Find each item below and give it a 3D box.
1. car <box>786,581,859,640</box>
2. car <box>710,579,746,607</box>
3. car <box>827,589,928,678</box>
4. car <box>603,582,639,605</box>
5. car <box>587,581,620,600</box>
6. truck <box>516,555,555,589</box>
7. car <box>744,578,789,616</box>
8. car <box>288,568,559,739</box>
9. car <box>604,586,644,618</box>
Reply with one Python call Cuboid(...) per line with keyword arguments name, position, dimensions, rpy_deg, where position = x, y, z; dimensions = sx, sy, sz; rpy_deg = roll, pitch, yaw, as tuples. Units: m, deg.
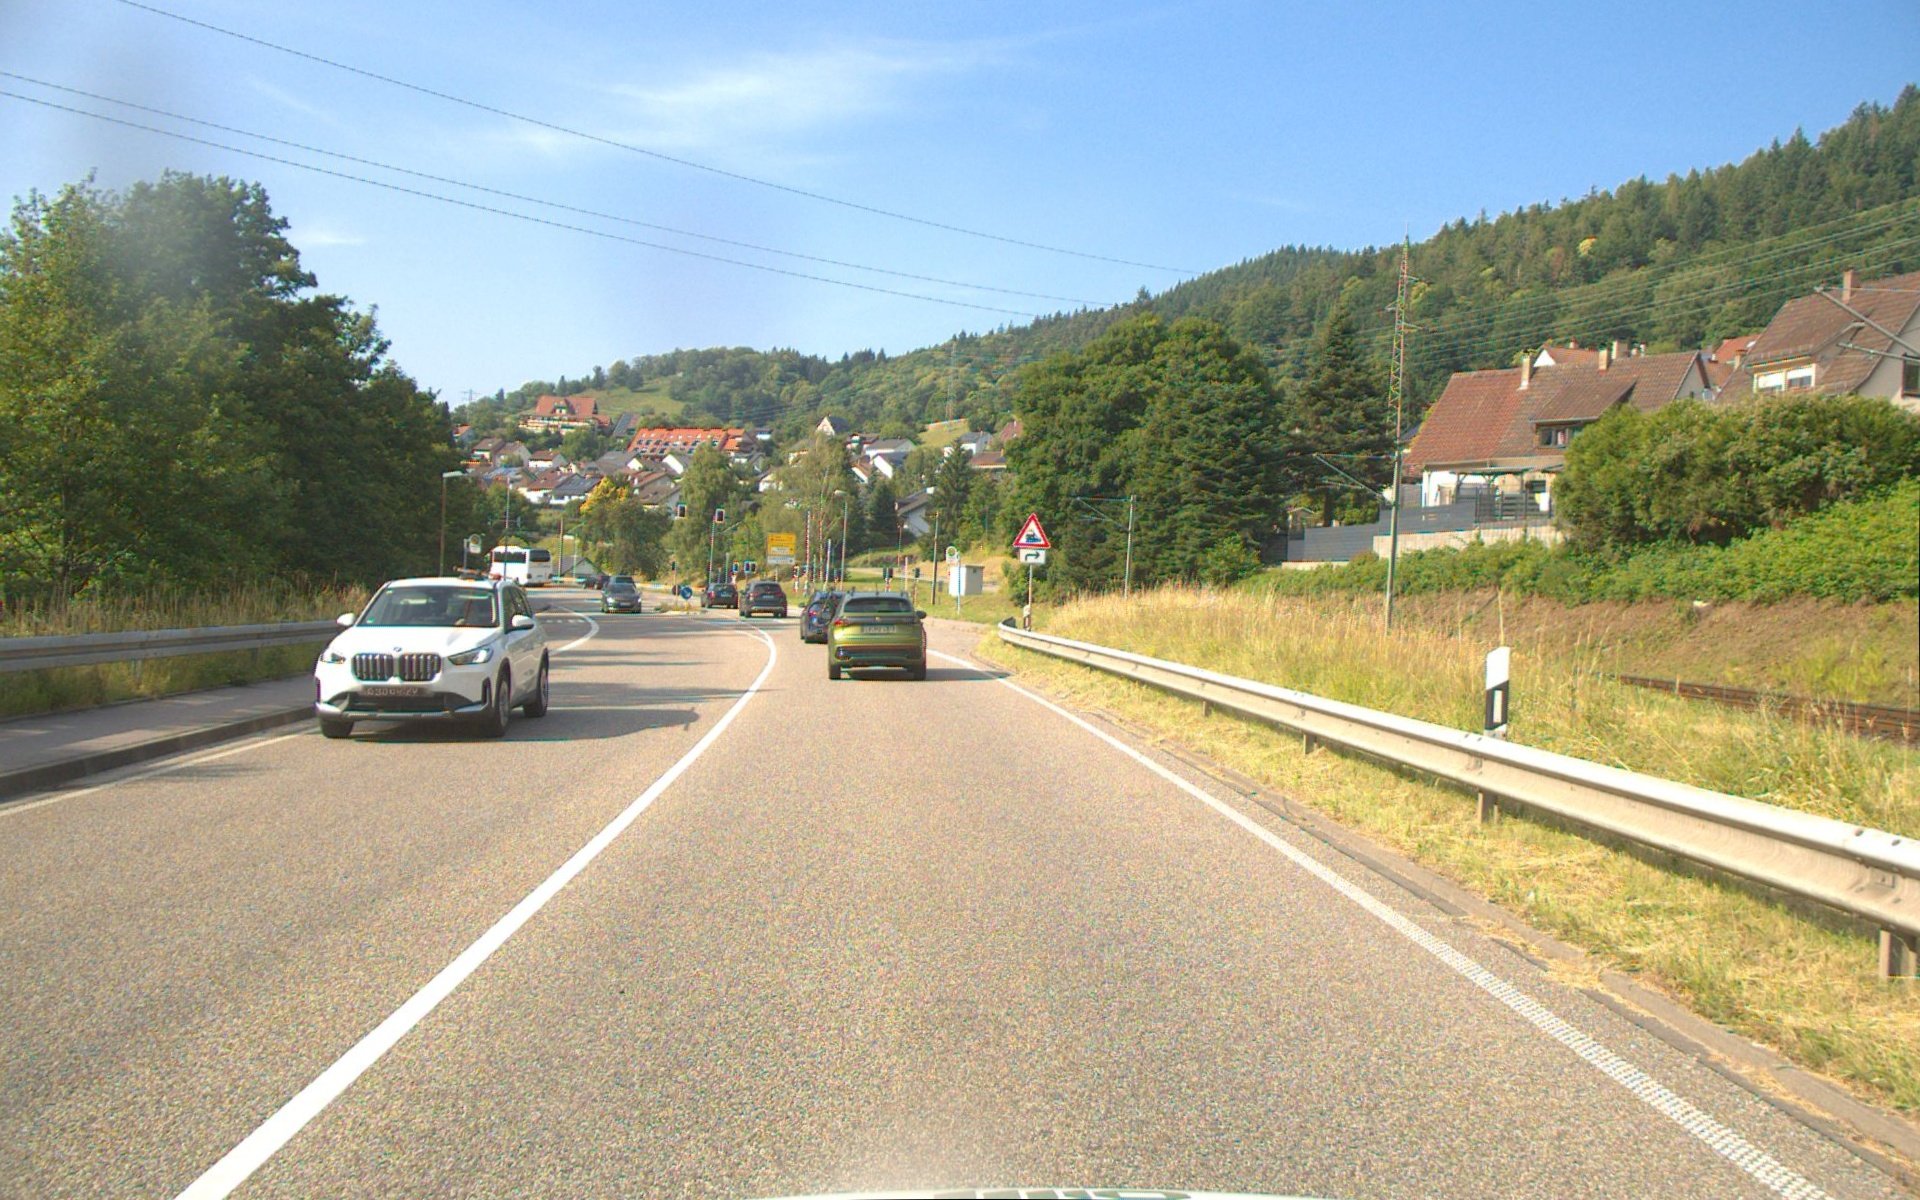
Cuboid(name="car", position=(-3.878, 0.271, 46.214), dimensions=(1.637, 1.586, 3.990), rpy_deg=(1, 0, -10))
Cuboid(name="car", position=(-13.327, -0.408, 94.954), dimensions=(1.816, 1.553, 3.652), rpy_deg=(0, 1, -11))
Cuboid(name="car", position=(-1.495, 0.554, 29.766), dimensions=(1.680, 1.480, 3.997), rpy_deg=(0, 0, -3))
Cuboid(name="car", position=(-27.116, -0.527, 132.170), dimensions=(2.036, 1.843, 3.970), rpy_deg=(0, 0, -24))
Cuboid(name="car", position=(-33.513, -0.880, 155.421), dimensions=(1.971, 1.775, 3.964), rpy_deg=(1, 0, -28))
Cuboid(name="truck", position=(-41.105, -2.738, 159.940), dimensions=(2.676, 3.137, 6.063), rpy_deg=(-1, 1, -24))
Cuboid(name="car", position=(-8.895, -0.148, 75.750), dimensions=(1.846, 1.716, 3.990), rpy_deg=(0, 0, -10))
Cuboid(name="car", position=(-5.717, 0.511, 18.145), dimensions=(1.955, 1.658, 3.996), rpy_deg=(1, 0, -5))
Cuboid(name="car", position=(-16.606, 0.083, 81.770), dimensions=(1.857, 1.514, 3.989), rpy_deg=(0, 0, -11))
